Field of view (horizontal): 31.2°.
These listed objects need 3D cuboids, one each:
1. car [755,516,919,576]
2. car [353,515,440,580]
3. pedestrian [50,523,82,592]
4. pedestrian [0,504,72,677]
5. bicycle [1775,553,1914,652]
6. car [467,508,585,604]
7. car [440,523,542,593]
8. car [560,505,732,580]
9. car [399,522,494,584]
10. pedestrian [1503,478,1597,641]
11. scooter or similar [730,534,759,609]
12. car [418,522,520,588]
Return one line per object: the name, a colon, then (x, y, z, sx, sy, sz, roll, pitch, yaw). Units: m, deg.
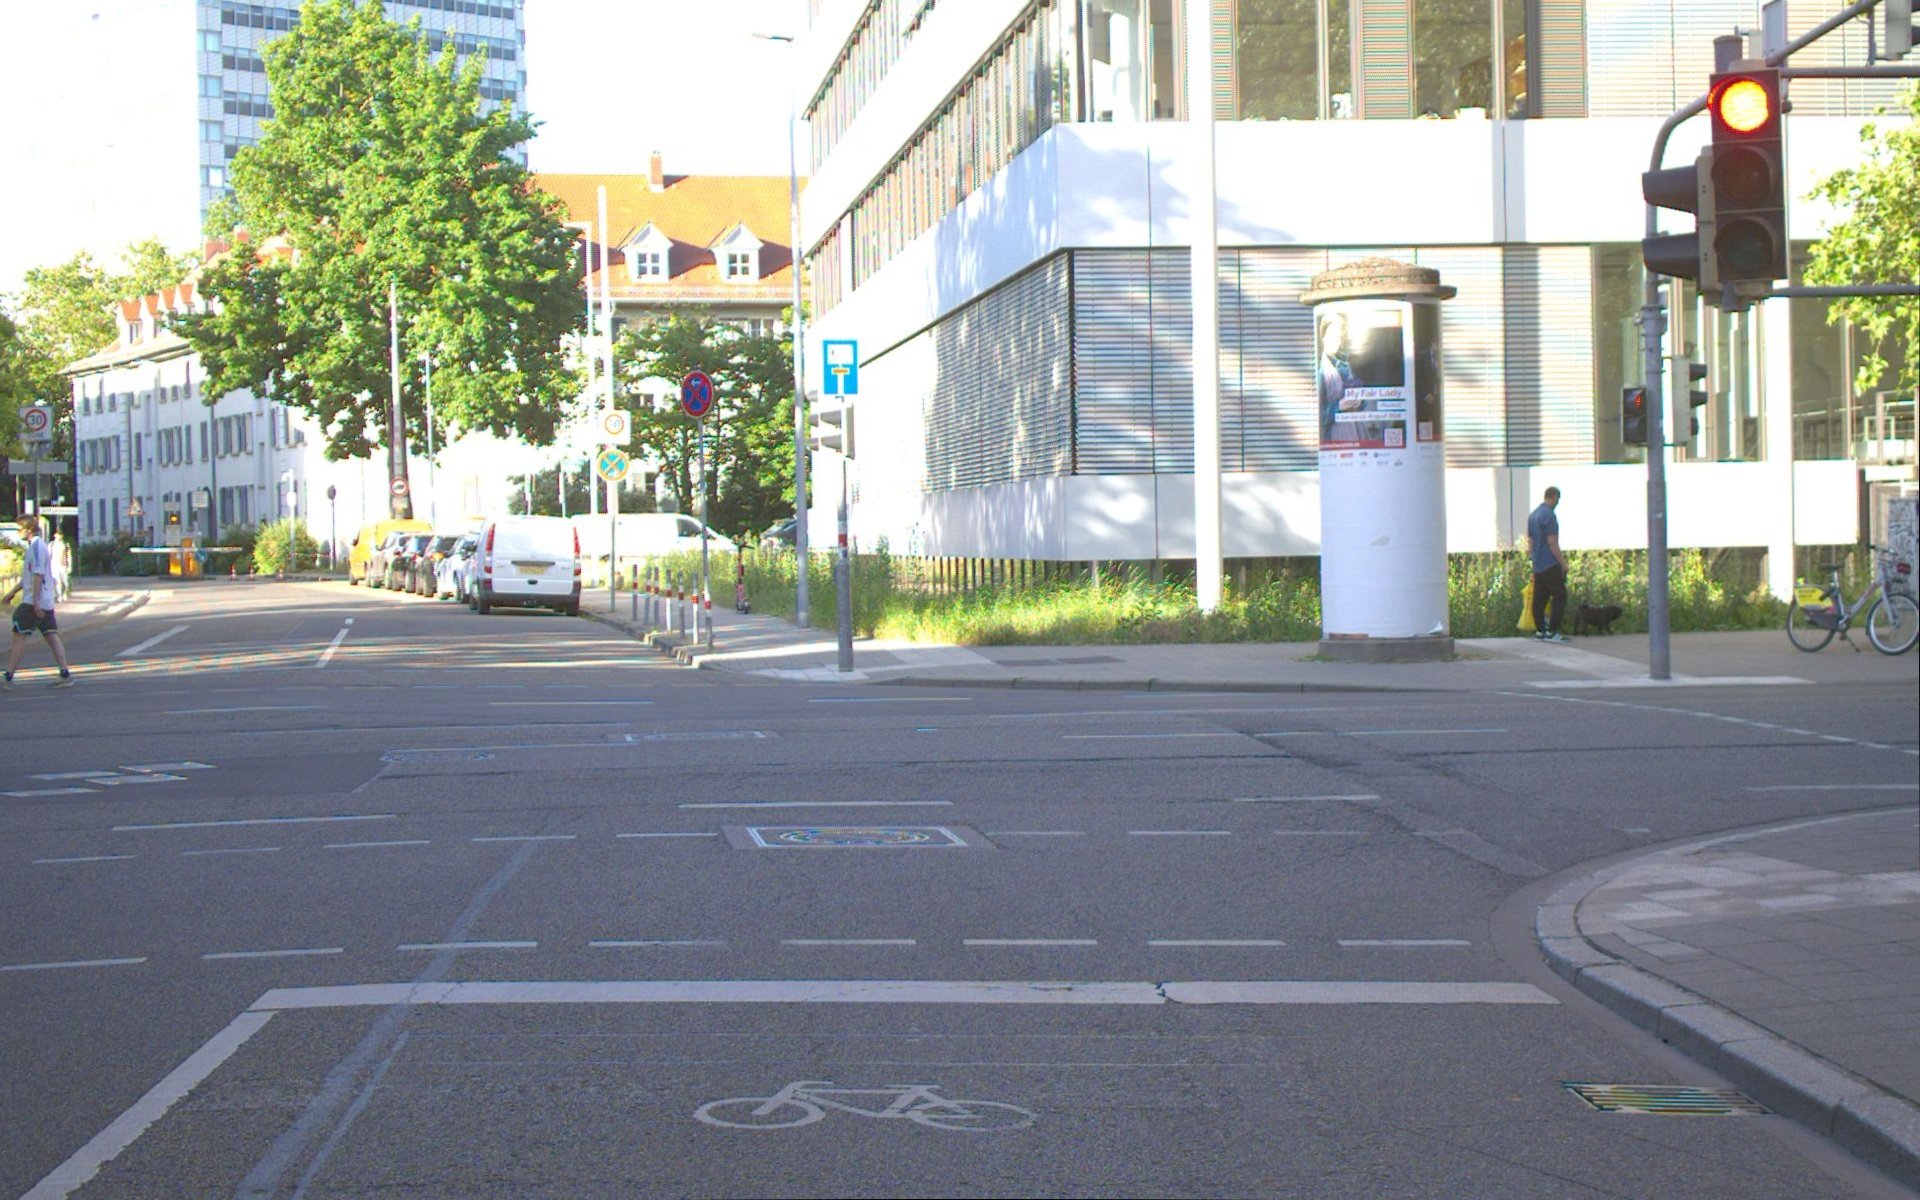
car: (-3.748, -1.636, 104.750, 4.635, 1.719, 2.001, 1, 0, -16)
car: (-15.732, -1.456, 95.811, 1.993, 1.719, 4.653, 1, 1, -14)
pedestrian: (-20.817, -0.991, 80.054, 0.699, 1.581, 0.637, 1, 0, -16)
pedestrian: (-10.214, -0.108, 37.569, 0.914, 1.862, 0.743, 1, 0, -10)
bicycle: (9.287, 0.020, 36.123, 0.378, 1.005, 1.432, -2, 2, -42)
car: (-8.215, -0.818, 64.798, 1.993, 1.719, 4.653, 1, 1, -10)
car: (-10.499, -0.938, 76.783, 1.993, 1.493, 4.653, 1, 1, -11)
car: (-9.396, -1.708, 102.906, 4.791, 2.151, 2.001, 1, 0, -17)
car: (-12.874, -1.168, 85.954, 1.993, 1.493, 4.653, 1, 1, -13)
pedestrian: (6.678, -0.459, 38.951, 0.914, 1.809, 0.762, 1, 0, 2)
scooter or similar: (-3.655, -0.492, 58.267, 0.437, 1.252, 1.420, -1, 1, -4)
car: (-11.621, -1.063, 81.230, 1.993, 1.493, 4.288, 1, 1, -13)
